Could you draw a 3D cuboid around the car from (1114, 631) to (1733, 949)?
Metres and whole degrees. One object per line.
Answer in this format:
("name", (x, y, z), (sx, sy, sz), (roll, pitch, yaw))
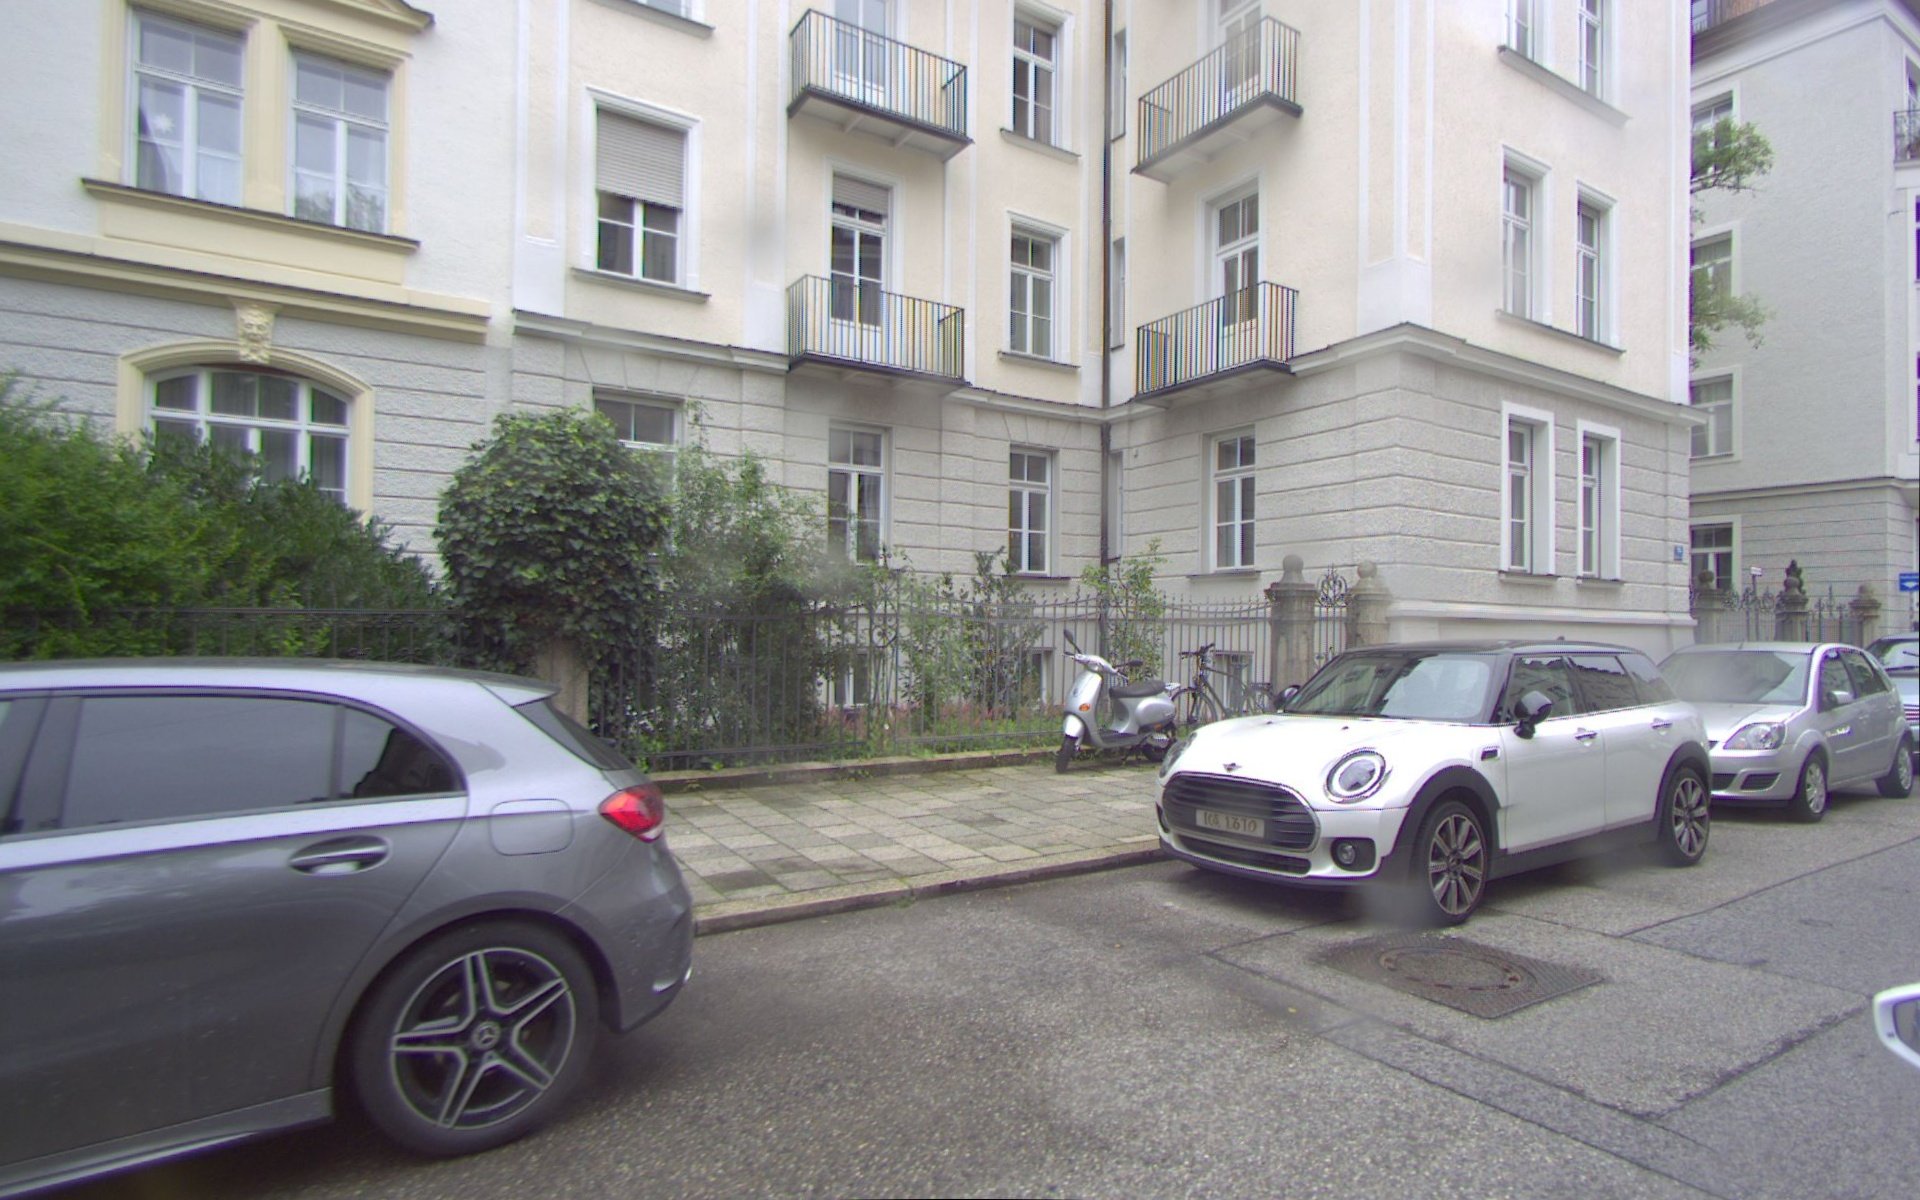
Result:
("car", (3.126, 0.946, 6.554), (4.035, 1.454, 1.787), (1, -1, -32))

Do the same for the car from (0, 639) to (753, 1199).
("car", (-2.883, 0.852, 2.900), (4.150, 1.382, 1.724), (0, -3, -35))

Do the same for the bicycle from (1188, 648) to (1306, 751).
("bicycle", (3.320, 1.118, 11.575), (1.404, 1.075, 0.429), (0, 3, -31))

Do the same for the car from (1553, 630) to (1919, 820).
("car", (7.425, 1.023, 9.446), (3.959, 1.421, 1.635), (1, -3, -34))

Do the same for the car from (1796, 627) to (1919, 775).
("car", (12.114, 1.129, 12.272), (4.016, 1.601, 1.688), (0, -3, -32))

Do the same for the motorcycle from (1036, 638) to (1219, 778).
("motorcycle", (1.702, 1.034, 10.124), (1.801, 1.266, 0.700), (1, 0, -33))
